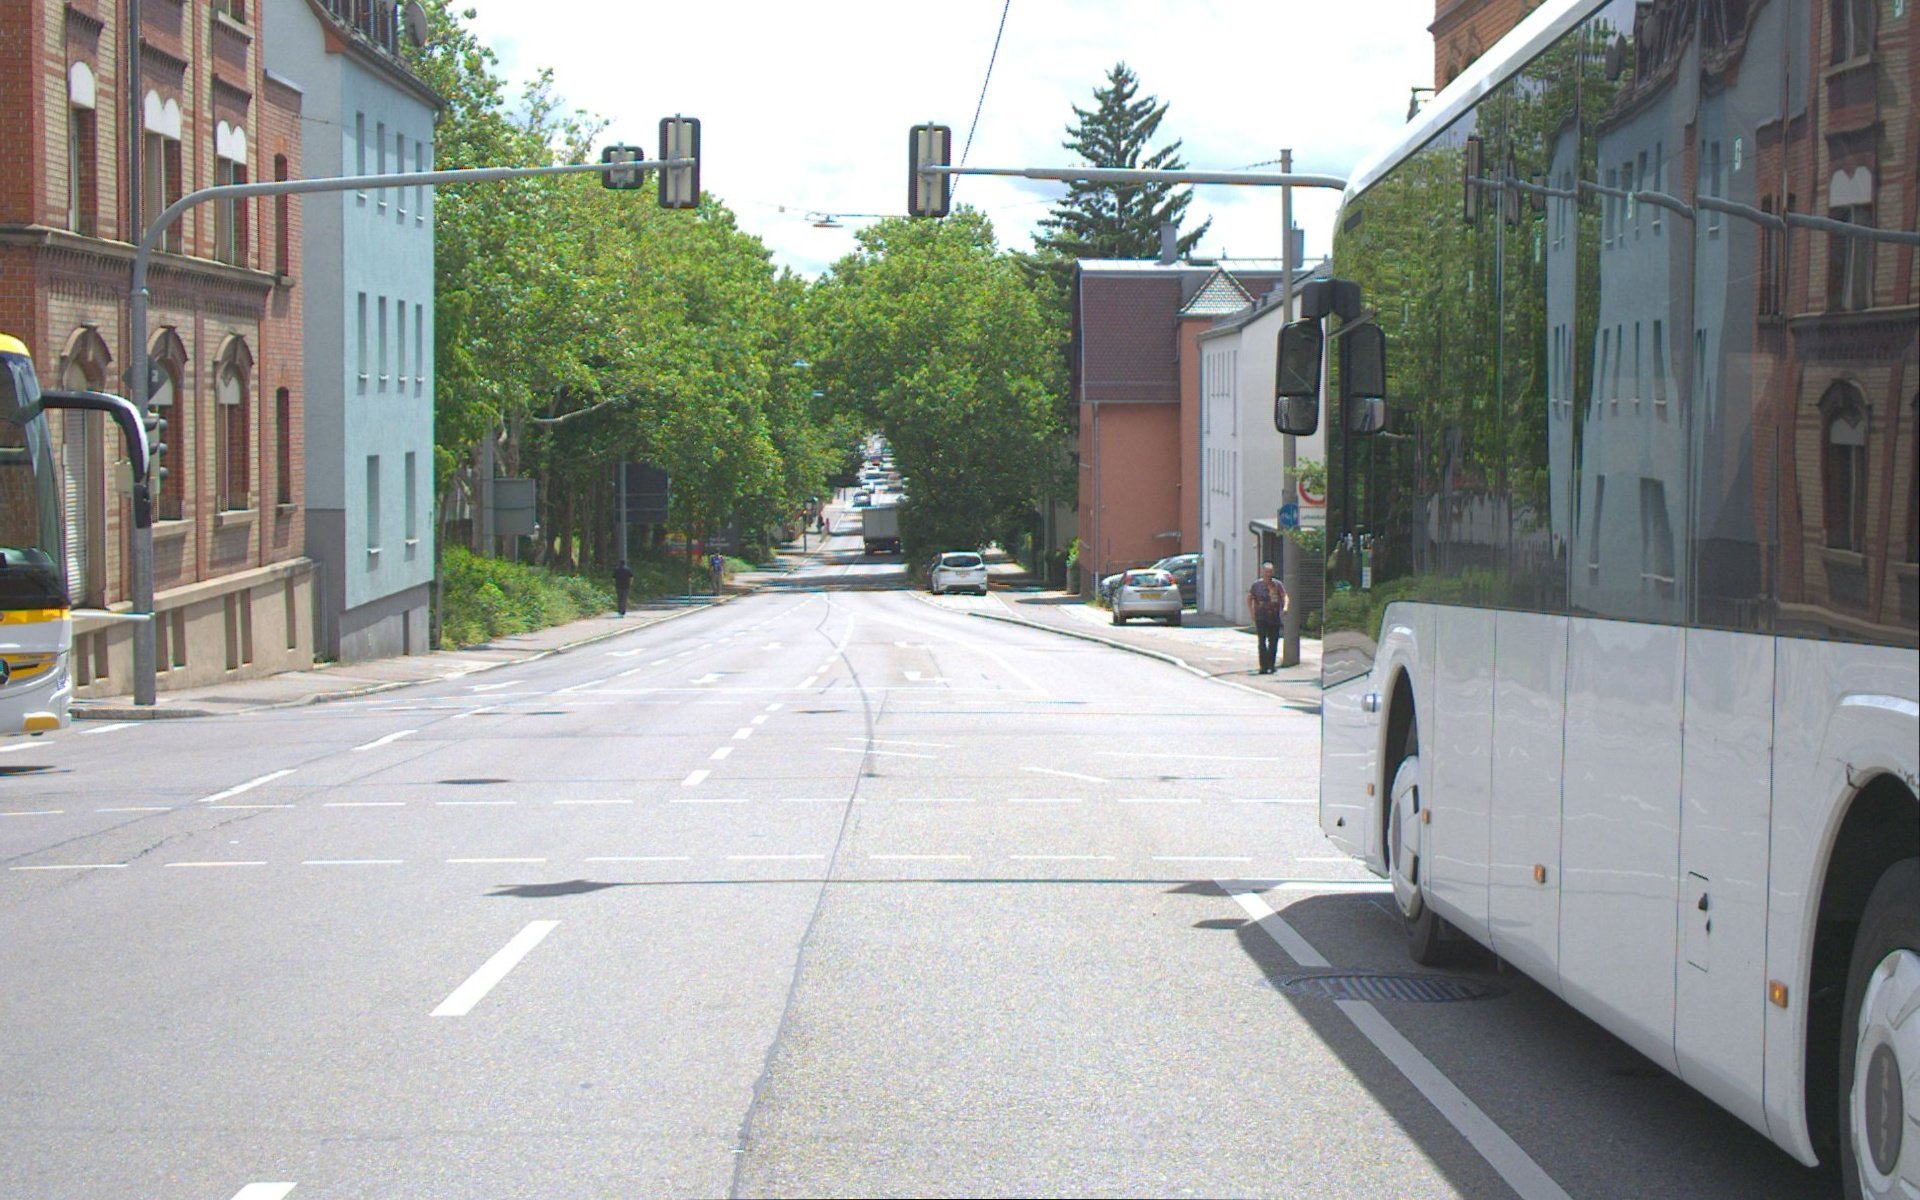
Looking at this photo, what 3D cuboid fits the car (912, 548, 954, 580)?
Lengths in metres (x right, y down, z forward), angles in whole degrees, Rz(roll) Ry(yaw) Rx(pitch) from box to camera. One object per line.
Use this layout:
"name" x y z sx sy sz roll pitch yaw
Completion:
"car" -1.200 -1.619 153.939 1.794 1.405 4.419 1 1 0

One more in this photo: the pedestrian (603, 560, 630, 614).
"pedestrian" -9.964 -0.375 99.667 0.729 1.560 0.561 0 1 -1

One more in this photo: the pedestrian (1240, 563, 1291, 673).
"pedestrian" 4.917 0.290 55.390 0.738 1.744 0.619 -1 1 -1

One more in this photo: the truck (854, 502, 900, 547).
"truck" -5.811 -5.229 238.687 2.926 3.070 7.886 -1 1 -3

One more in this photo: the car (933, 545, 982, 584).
"car" -0.096 -1.332 129.355 1.794 1.405 4.000 1 1 0

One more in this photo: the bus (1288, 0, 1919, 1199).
"bus" 2.892 -0.236 9.356 2.672 3.145 12.462 -1 1 0

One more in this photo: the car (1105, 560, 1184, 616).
"car" 4.975 -0.351 93.078 1.794 1.405 4.001 -1 1 -2

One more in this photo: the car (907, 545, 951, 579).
"car" -1.298 -1.613 145.832 1.794 1.405 4.419 1 1 0

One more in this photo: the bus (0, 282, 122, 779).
"bus" -12.651 -0.566 27.250 12.236 3.609 2.768 1 1 20
